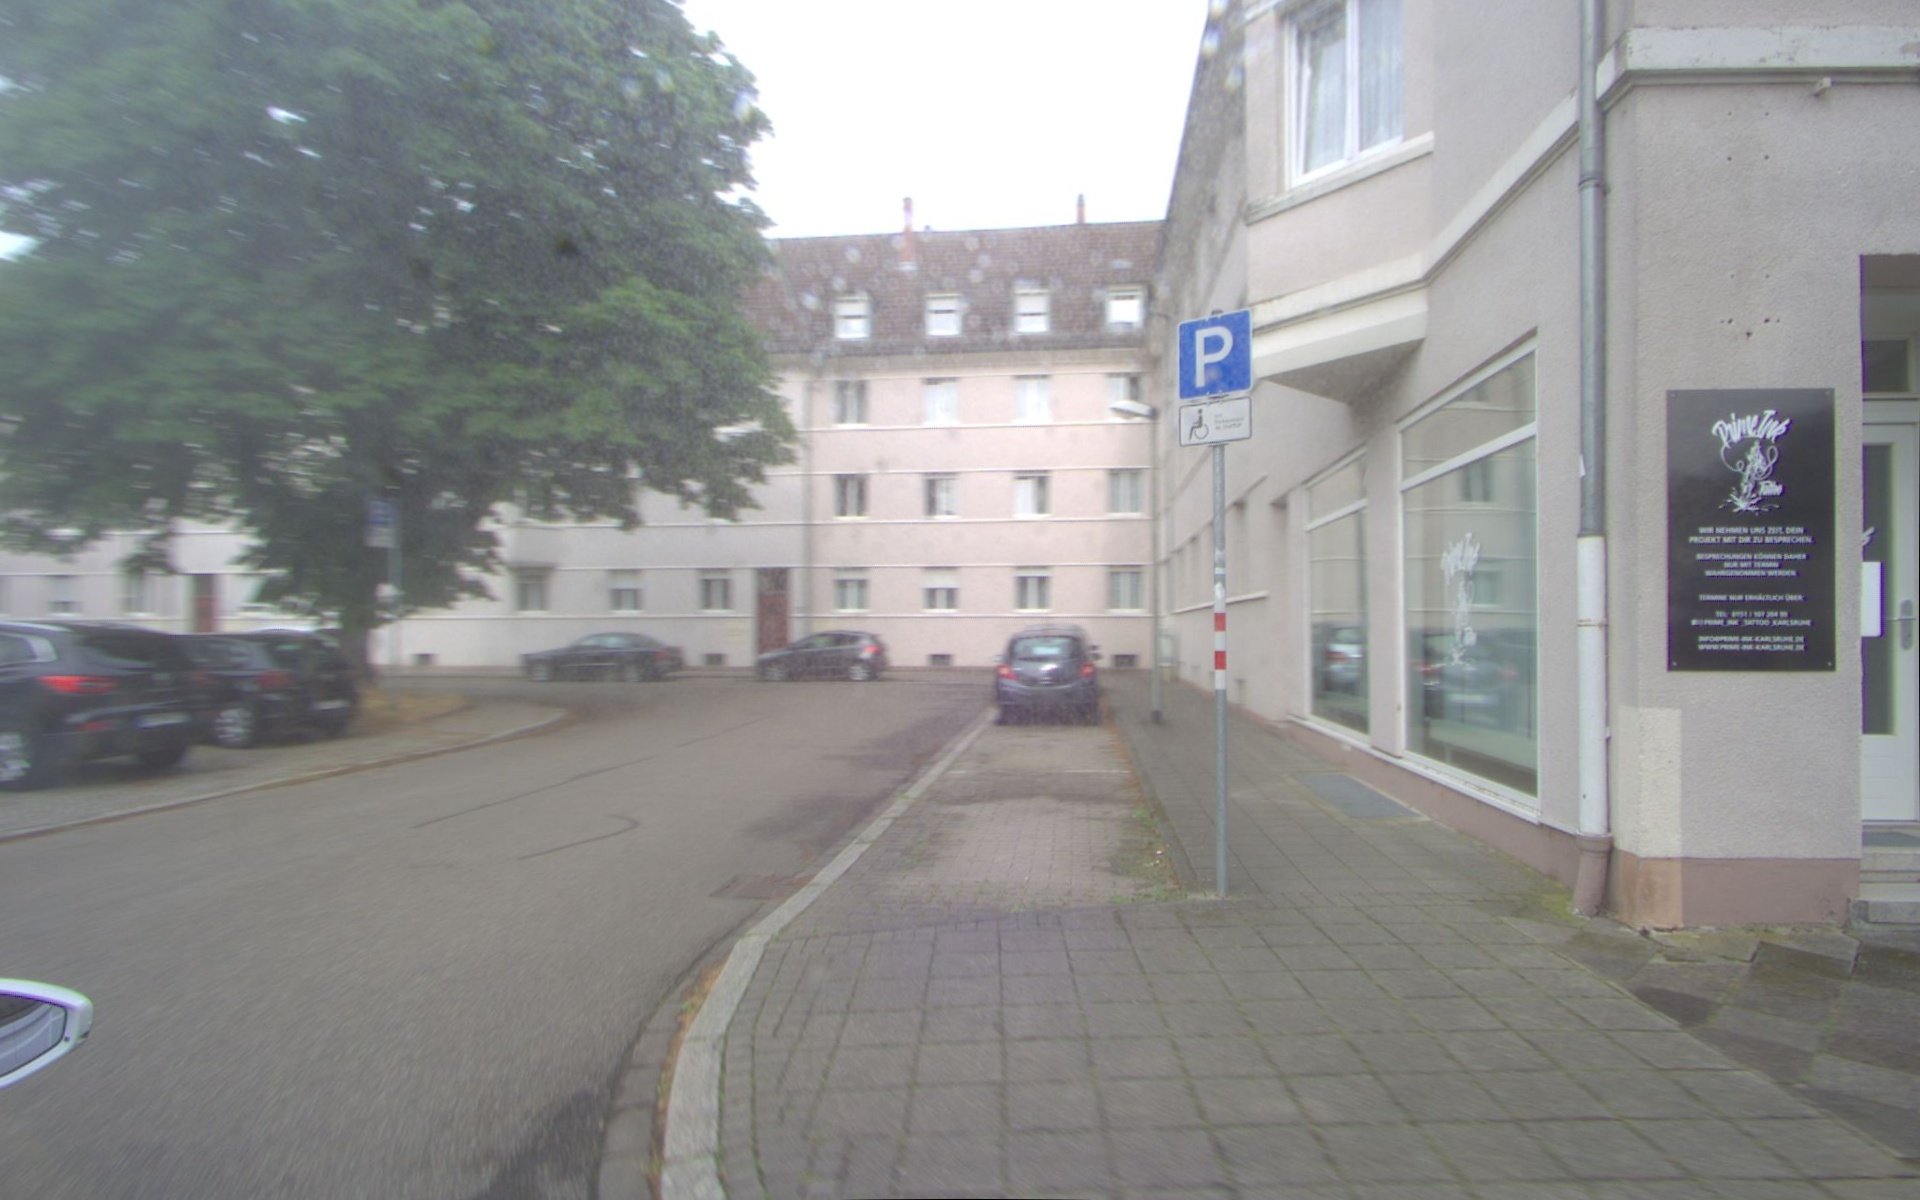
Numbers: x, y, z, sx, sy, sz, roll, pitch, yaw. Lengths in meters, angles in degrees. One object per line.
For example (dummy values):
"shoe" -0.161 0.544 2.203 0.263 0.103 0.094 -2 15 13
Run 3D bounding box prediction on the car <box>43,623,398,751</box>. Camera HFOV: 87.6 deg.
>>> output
"car" -10.052 1.121 13.751 3.769 1.598 1.830 0 -1 10

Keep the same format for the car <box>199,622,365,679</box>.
"car" -21.723 1.589 32.158 4.206 1.696 1.848 0 0 5

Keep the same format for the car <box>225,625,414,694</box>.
"car" -14.736 1.366 23.106 3.523 1.511 1.530 0 -4 10

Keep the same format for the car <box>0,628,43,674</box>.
"car" -32.815 1.668 33.261 3.625 1.492 1.572 0 -1 9

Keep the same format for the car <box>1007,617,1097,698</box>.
"car" 2.178 1.255 22.756 1.729 1.648 4.200 0 -2 10

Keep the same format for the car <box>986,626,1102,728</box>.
"car" 1.501 1.219 16.948 1.728 1.508 3.938 0 -2 7

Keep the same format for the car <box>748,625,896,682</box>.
"car" -4.016 1.550 29.494 4.000 1.545 1.762 0 0 6

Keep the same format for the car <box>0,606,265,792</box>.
"car" -9.954 0.932 10.664 3.991 1.719 1.916 1 -1 11

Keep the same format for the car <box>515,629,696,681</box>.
"car" -10.624 1.639 30.144 4.853 1.439 1.750 0 0 6
